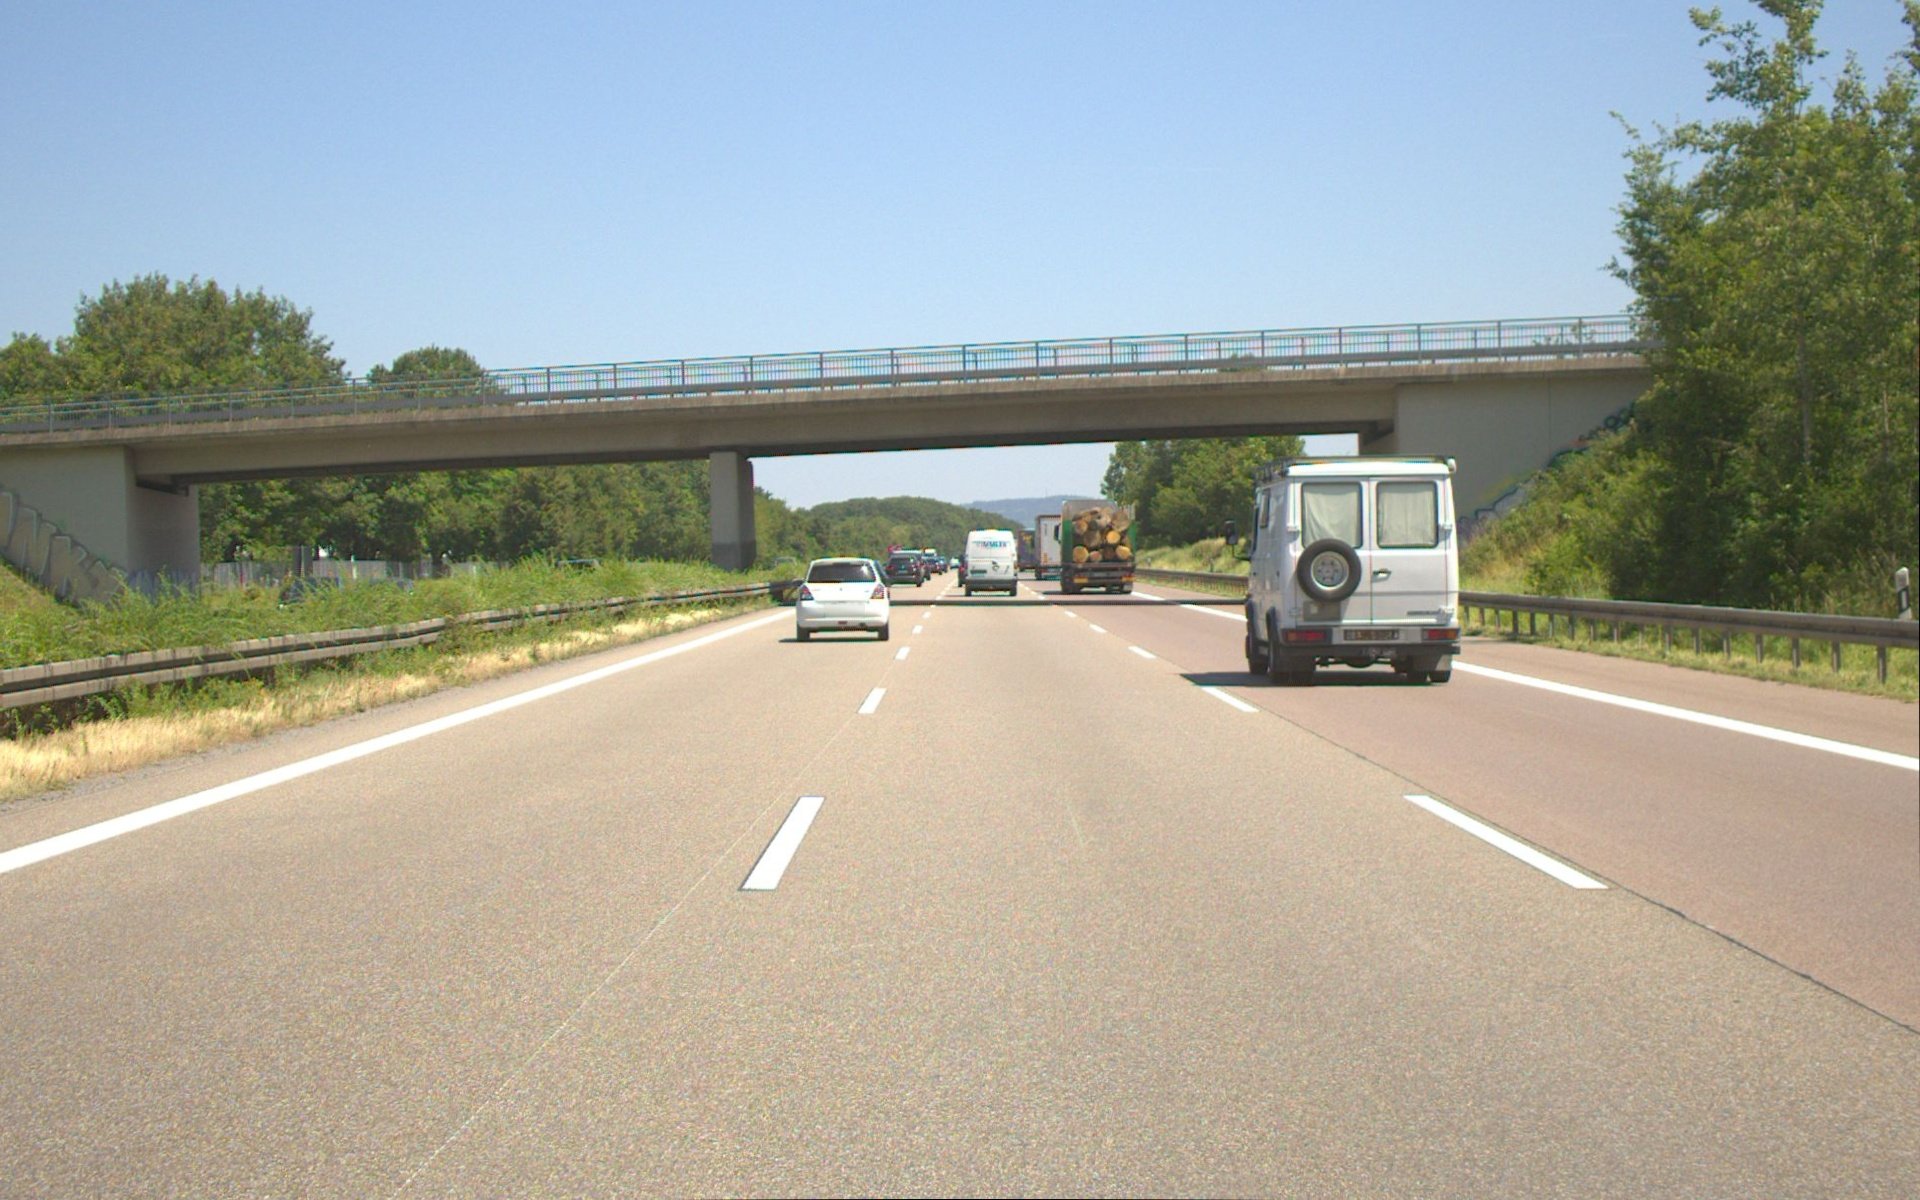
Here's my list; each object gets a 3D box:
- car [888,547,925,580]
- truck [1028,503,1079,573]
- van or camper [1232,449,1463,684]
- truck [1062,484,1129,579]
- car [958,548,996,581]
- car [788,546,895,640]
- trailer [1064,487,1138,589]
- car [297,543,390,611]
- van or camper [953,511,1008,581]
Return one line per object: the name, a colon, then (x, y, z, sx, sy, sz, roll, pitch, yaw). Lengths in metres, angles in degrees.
car: (-2.689, -1.845, 173.848, 1.857, 1.646, 4.000, 0, 1, -1)
truck: (5.897, -3.878, 218.657, 3.079, 4.194, 16.843, 1, 1, 1)
van or camper: (4.681, -0.416, 42.489, 2.113, 2.694, 6.368, 0, 1, 0)
truck: (5.767, -2.919, 147.034, 2.670, 3.981, 6.636, 0, 1, 1)
car: (0.842, -1.775, 171.598, 1.857, 1.646, 4.000, 0, 1, -1)
car: (-2.148, -0.146, 63.394, 1.857, 1.646, 4.000, 1, 1, -1)
trailer: (5.655, -2.504, 140.047, 2.653, 3.945, 13.636, 0, 1, 1)
car: (-18.800, -0.710, 104.942, 1.993, 2.007, 4.000, -1, 1, 2)
van or camper: (0.823, -2.070, 133.156, 2.058, 2.613, 5.985, 0, 1, 1)
